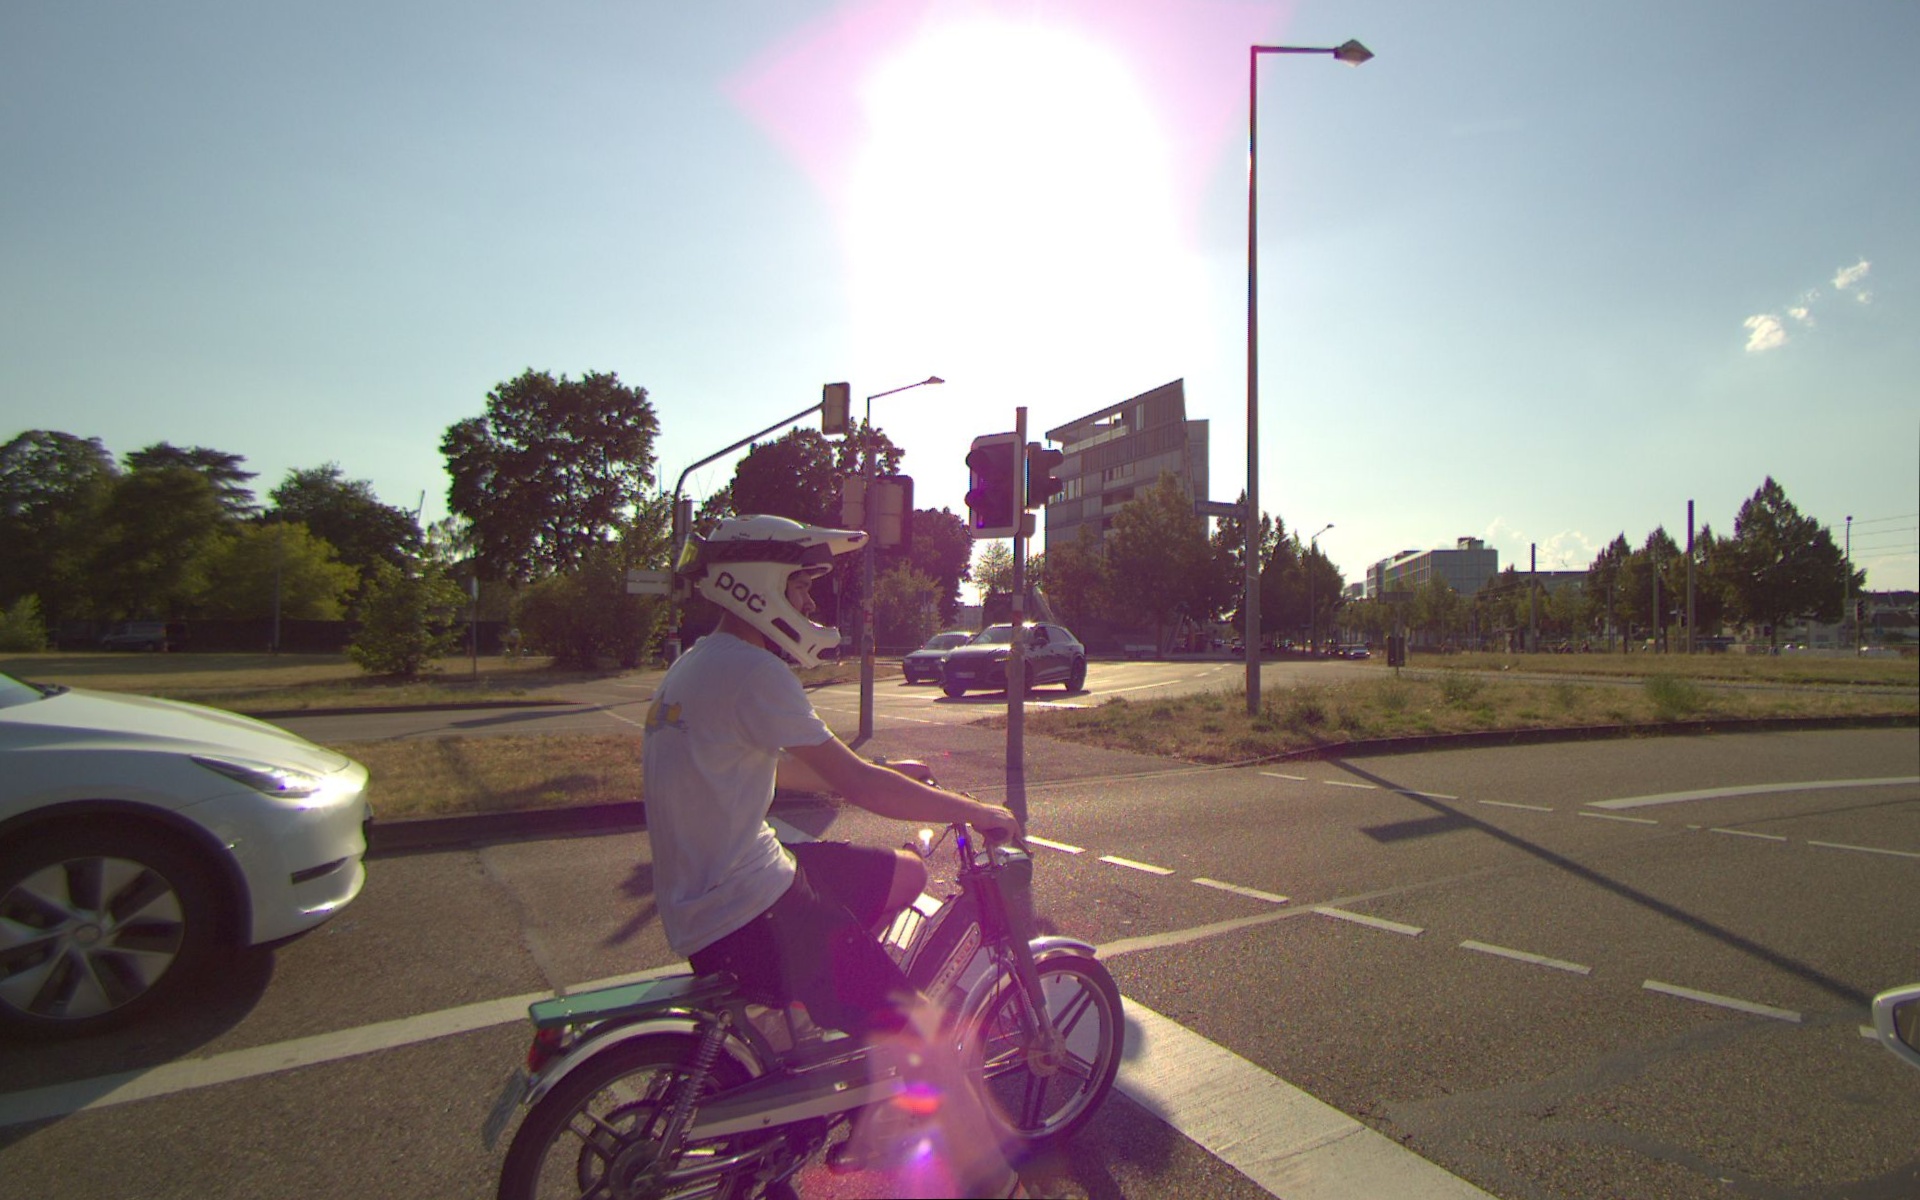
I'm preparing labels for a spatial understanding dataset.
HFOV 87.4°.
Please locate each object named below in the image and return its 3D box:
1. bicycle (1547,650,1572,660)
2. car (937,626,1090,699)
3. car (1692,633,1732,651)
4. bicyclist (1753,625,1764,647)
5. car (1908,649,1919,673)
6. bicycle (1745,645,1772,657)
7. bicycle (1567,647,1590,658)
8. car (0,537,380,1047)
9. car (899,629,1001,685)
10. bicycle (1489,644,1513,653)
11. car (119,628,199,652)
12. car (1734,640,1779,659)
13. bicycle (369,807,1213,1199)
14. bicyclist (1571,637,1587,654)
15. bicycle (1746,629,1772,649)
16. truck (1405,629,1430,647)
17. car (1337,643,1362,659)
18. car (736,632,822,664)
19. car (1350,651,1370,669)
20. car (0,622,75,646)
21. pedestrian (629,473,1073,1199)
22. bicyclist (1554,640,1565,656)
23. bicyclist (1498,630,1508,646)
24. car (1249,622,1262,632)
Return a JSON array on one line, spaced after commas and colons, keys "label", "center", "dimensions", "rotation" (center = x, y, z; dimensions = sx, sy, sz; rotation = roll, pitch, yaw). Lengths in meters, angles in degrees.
[{"label": "bicycle", "center": [48.880, 4.467, 81.956], "dimensions": [1.687, 0.754, 0.481], "rotation": [0, -2, 14]}, {"label": "car", "center": [1.372, 1.409, 23.578], "dimensions": [1.624, 1.532, 4.635], "rotation": [-2, -3, 30]}, {"label": "car", "center": [89.257, 4.952, 119.230], "dimensions": [1.960, 2.040, 4.002], "rotation": [0, -2, 5]}, {"label": "bicyclist", "center": [62.212, 2.791, 78.236], "dimensions": [0.598, 1.694, 0.477], "rotation": [0, -2, 33]}, {"label": "car", "center": [76.246, 4.755, 77.644], "dimensions": [3.928, 1.840, 1.997], "rotation": [-1, -2, 29]}, {"label": "bicycle", "center": [61.657, 3.932, 77.609], "dimensions": [1.592, 0.871, 0.543], "rotation": [-1, -2, 35]}, {"label": "bicycle", "center": [51.407, 4.376, 83.499], "dimensions": [1.586, 0.871, 0.546], "rotation": [0, -2, 10]}, {"label": "car", "center": [-4.575, 0.581, 3.168], "dimensions": [4.630, 1.620, 1.724], "rotation": [2, -1, -35]}, {"label": "car", "center": [-0.223, 1.669, 29.996], "dimensions": [1.621, 1.532, 3.826], "rotation": [-1, -2, 24]}, {"label": "bicycle", "center": [45.237, 4.059, 83.955], "dimensions": [1.687, 0.754, 0.481], "rotation": [0, -2, 14]}, {"label": "car", "center": [-51.547, 2.564, 64.672], "dimensions": [4.312, 1.545, 1.657], "rotation": [0, -2, 13]}, {"label": "car", "center": [87.977, 5.448, 110.953], "dimensions": [1.960, 2.040, 4.002], "rotation": [0, -2, 5]}, {"label": "bicycle", "center": [-0.270, 1.027, 2.273], "dimensions": [1.834, 0.887, 0.475], "rotation": [1, -2, -31]}, {"label": "bicyclist", "center": [51.450, 3.780, 83.543], "dimensions": [0.937, 1.375, 0.694], "rotation": [0, -2, 10]}, {"label": "bicycle", "center": [62.224, 3.033, 78.223], "dimensions": [1.518, 1.493, 0.478], "rotation": [-1, -2, 34]}, {"label": "truck", "center": [87.401, 7.287, 191.952], "dimensions": [3.074, 3.273, 7.178], "rotation": [0, -2, 14]}, {"label": "car", "center": [38.365, 5.055, 99.080], "dimensions": [1.960, 1.495, 4.002], "rotation": [0, -2, 17]}, {"label": "car", "center": [-9.010, 2.375, 49.965], "dimensions": [3.864, 1.545, 1.657], "rotation": [0, -2, 13]}, {"label": "car", "center": [36.607, 5.475, 91.972], "dimensions": [1.455, 1.495, 3.301], "rotation": [0, -2, 17]}, {"label": "car", "center": [-61.181, 2.269, 66.532], "dimensions": [4.312, 1.545, 1.657], "rotation": [0, -2, 13]}, {"label": "pedestrian", "center": [-0.266, 0.549, 2.360], "dimensions": [0.844, 1.539, 0.653], "rotation": [1, -2, -30]}, {"label": "bicyclist", "center": [48.947, 3.903, 81.961], "dimensions": [0.641, 1.343, 0.519], "rotation": [0, -1, 14]}, {"label": "bicyclist", "center": [45.390, 3.200, 83.923], "dimensions": [0.641, 1.343, 0.519], "rotation": [0, -1, 14]}, {"label": "car", "center": [47.054, 4.301, 160.136], "dimensions": [1.753, 1.576, 4.002], "rotation": [2, 0, 14]}]
